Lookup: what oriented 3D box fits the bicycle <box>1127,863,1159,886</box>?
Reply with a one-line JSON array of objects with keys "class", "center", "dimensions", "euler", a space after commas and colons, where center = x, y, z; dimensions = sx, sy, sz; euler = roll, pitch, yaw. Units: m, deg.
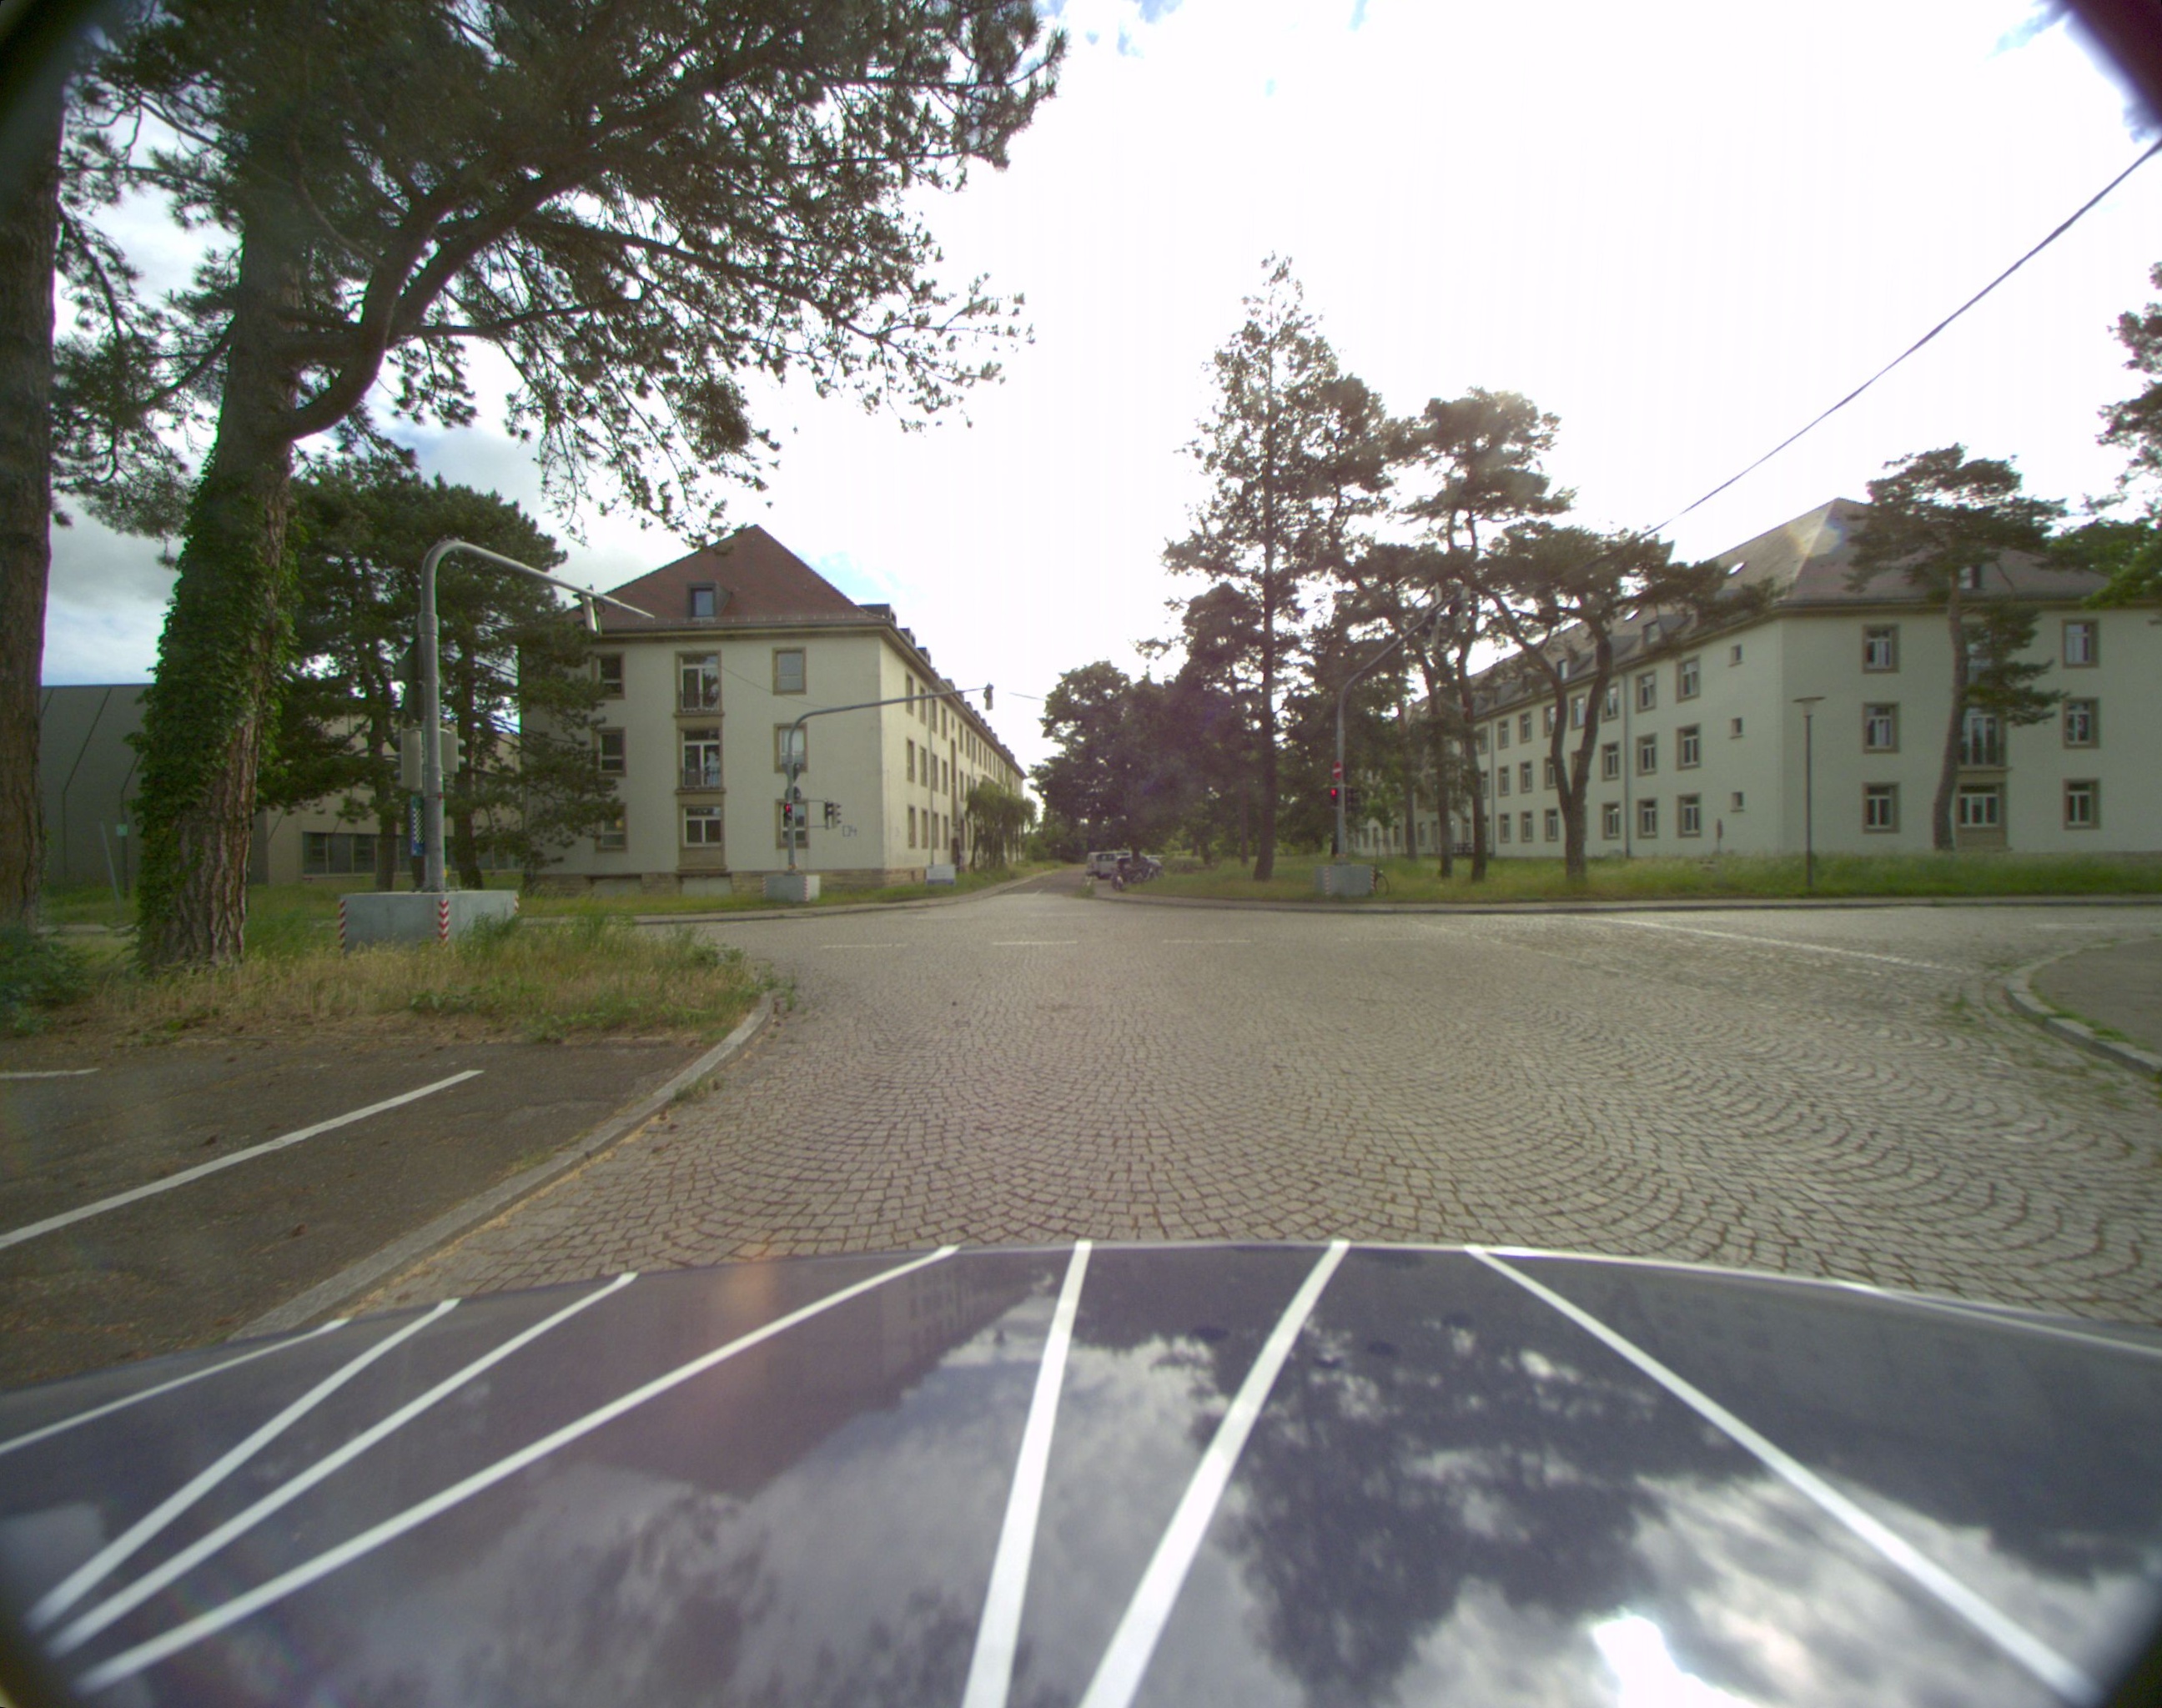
[{"class": "bicycle", "center": [3.048, 1.003, 37.383], "dimensions": [1.456, 1.033, 0.497], "euler": [-4, 1, -4]}]

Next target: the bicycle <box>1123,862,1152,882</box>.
[{"class": "bicycle", "center": [3.081, 0.973, 41.269], "dimensions": [1.456, 1.033, 0.497], "euler": [-4, 1, -4]}]

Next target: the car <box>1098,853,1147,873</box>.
[{"class": "car", "center": [3.665, 0.791, 67.786], "dimensions": [4.092, 1.710, 1.858], "euler": [-1, 2, -7]}]

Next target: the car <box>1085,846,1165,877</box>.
[{"class": "car", "center": [3.071, 0.536, 53.662], "dimensions": [5.172, 1.905, 2.034], "euler": [-3, 0, -12]}]

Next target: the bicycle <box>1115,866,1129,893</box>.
[{"class": "bicycle", "center": [1.753, 1.061, 32.582], "dimensions": [0.497, 1.068, 1.416], "euler": [-4, 1, 1]}]

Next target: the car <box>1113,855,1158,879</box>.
[{"class": "car", "center": [3.577, 0.833, 50.315], "dimensions": [2.771, 1.407, 1.592], "euler": [-3, 0, 0]}]

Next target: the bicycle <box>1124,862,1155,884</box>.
[{"class": "bicycle", "center": [2.977, 0.976, 38.660], "dimensions": [1.456, 1.033, 0.497], "euler": [-4, 1, -4]}]

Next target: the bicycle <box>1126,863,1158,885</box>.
[{"class": "bicycle", "center": [3.032, 0.994, 37.968], "dimensions": [1.456, 1.033, 0.497], "euler": [-4, 1, -4]}]

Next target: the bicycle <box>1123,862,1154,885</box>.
[{"class": "bicycle", "center": [2.955, 1.003, 39.129], "dimensions": [1.456, 1.033, 0.497], "euler": [-4, 1, -4]}]

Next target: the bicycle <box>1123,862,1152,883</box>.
[{"class": "bicycle", "center": [3.010, 0.975, 40.743], "dimensions": [1.456, 1.033, 0.497], "euler": [-4, 1, -4]}]

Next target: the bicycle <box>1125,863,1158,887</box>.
[{"class": "bicycle", "center": [2.898, 1.005, 36.351], "dimensions": [1.456, 1.033, 0.497], "euler": [-4, 1, -4]}]

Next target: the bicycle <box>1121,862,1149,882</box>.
[{"class": "bicycle", "center": [2.999, 0.987, 42.267], "dimensions": [1.456, 1.033, 0.497], "euler": [-4, 1, -4]}]

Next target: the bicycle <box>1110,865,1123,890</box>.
[{"class": "bicycle", "center": [1.601, 1.055, 34.190], "dimensions": [0.497, 1.032, 1.416], "euler": [-4, 1, 1]}]

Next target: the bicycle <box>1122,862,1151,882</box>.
[{"class": "bicycle", "center": [3.044, 0.984, 41.791], "dimensions": [1.456, 1.033, 0.497], "euler": [-4, 1, -4]}]

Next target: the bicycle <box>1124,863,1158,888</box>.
[{"class": "bicycle", "center": [2.819, 0.995, 35.556], "dimensions": [1.457, 1.033, 0.497], "euler": [-4, 1, -6]}]

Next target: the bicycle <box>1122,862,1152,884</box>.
[{"class": "bicycle", "center": [2.922, 0.989, 39.622], "dimensions": [1.456, 1.033, 0.497], "euler": [-4, 1, -4]}]

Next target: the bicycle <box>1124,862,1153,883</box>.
[{"class": "bicycle", "center": [3.040, 0.983, 40.252], "dimensions": [1.456, 1.033, 0.497], "euler": [-4, 1, -4]}]

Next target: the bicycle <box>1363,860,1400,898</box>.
[{"class": "bicycle", "center": [9.125, 0.749, 23.105], "dimensions": [0.497, 1.068, 1.416], "euler": [-4, 1, -2]}]
